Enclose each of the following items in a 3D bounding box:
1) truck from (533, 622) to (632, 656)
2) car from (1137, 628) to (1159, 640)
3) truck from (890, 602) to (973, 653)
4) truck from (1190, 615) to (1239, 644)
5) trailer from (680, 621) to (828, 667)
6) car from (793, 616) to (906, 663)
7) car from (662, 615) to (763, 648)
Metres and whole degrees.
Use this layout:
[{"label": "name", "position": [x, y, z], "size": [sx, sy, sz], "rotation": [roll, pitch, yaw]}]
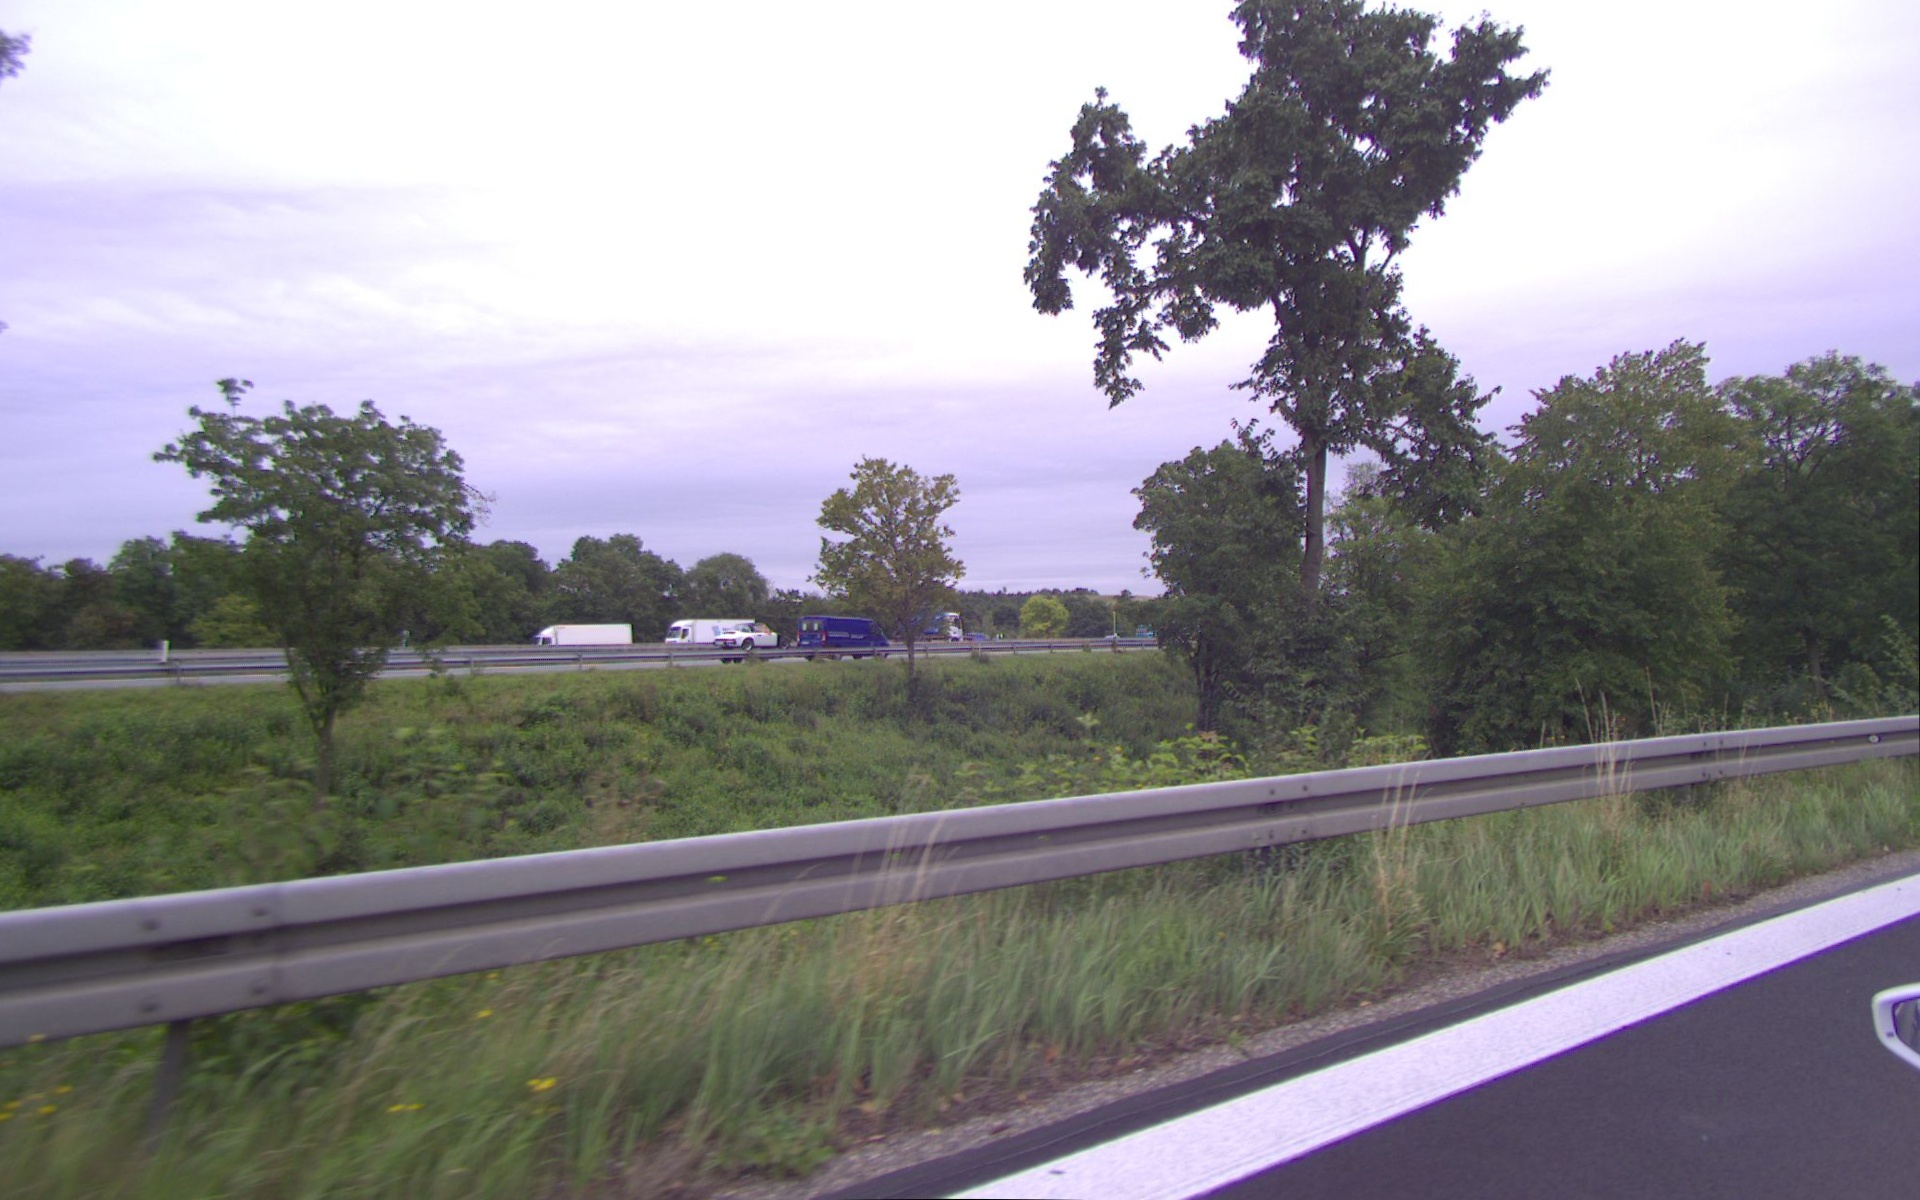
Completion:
[{"label": "truck", "position": [-36.710, 3.814, 97.949], "size": [8.852, 3.169, 2.256], "rotation": [2, -2, -42]}, {"label": "car", "position": [31.149, 5.654, 166.099], "size": [1.968, 1.862, 3.985], "rotation": [-2, -1, 36]}, {"label": "truck", "position": [-2.190, 2.226, 79.735], "size": [2.604, 3.862, 7.317], "rotation": [0, -2, 37]}, {"label": "truck", "position": [31.229, 3.566, 122.880], "size": [2.820, 3.409, 8.599], "rotation": [-1, -2, 36]}, {"label": "trailer", "position": [-9.577, 2.006, 47.502], "size": [2.453, 2.021, 7.038], "rotation": [-1, -2, 36]}, {"label": "car", "position": [-5.713, 2.028, 52.850], "size": [2.342, 2.296, 6.234], "rotation": [-1, -2, 36]}, {"label": "car", "position": [-23.749, 3.094, 97.082], "size": [2.697, 3.021, 10.045], "rotation": [-1, -2, 37]}]
